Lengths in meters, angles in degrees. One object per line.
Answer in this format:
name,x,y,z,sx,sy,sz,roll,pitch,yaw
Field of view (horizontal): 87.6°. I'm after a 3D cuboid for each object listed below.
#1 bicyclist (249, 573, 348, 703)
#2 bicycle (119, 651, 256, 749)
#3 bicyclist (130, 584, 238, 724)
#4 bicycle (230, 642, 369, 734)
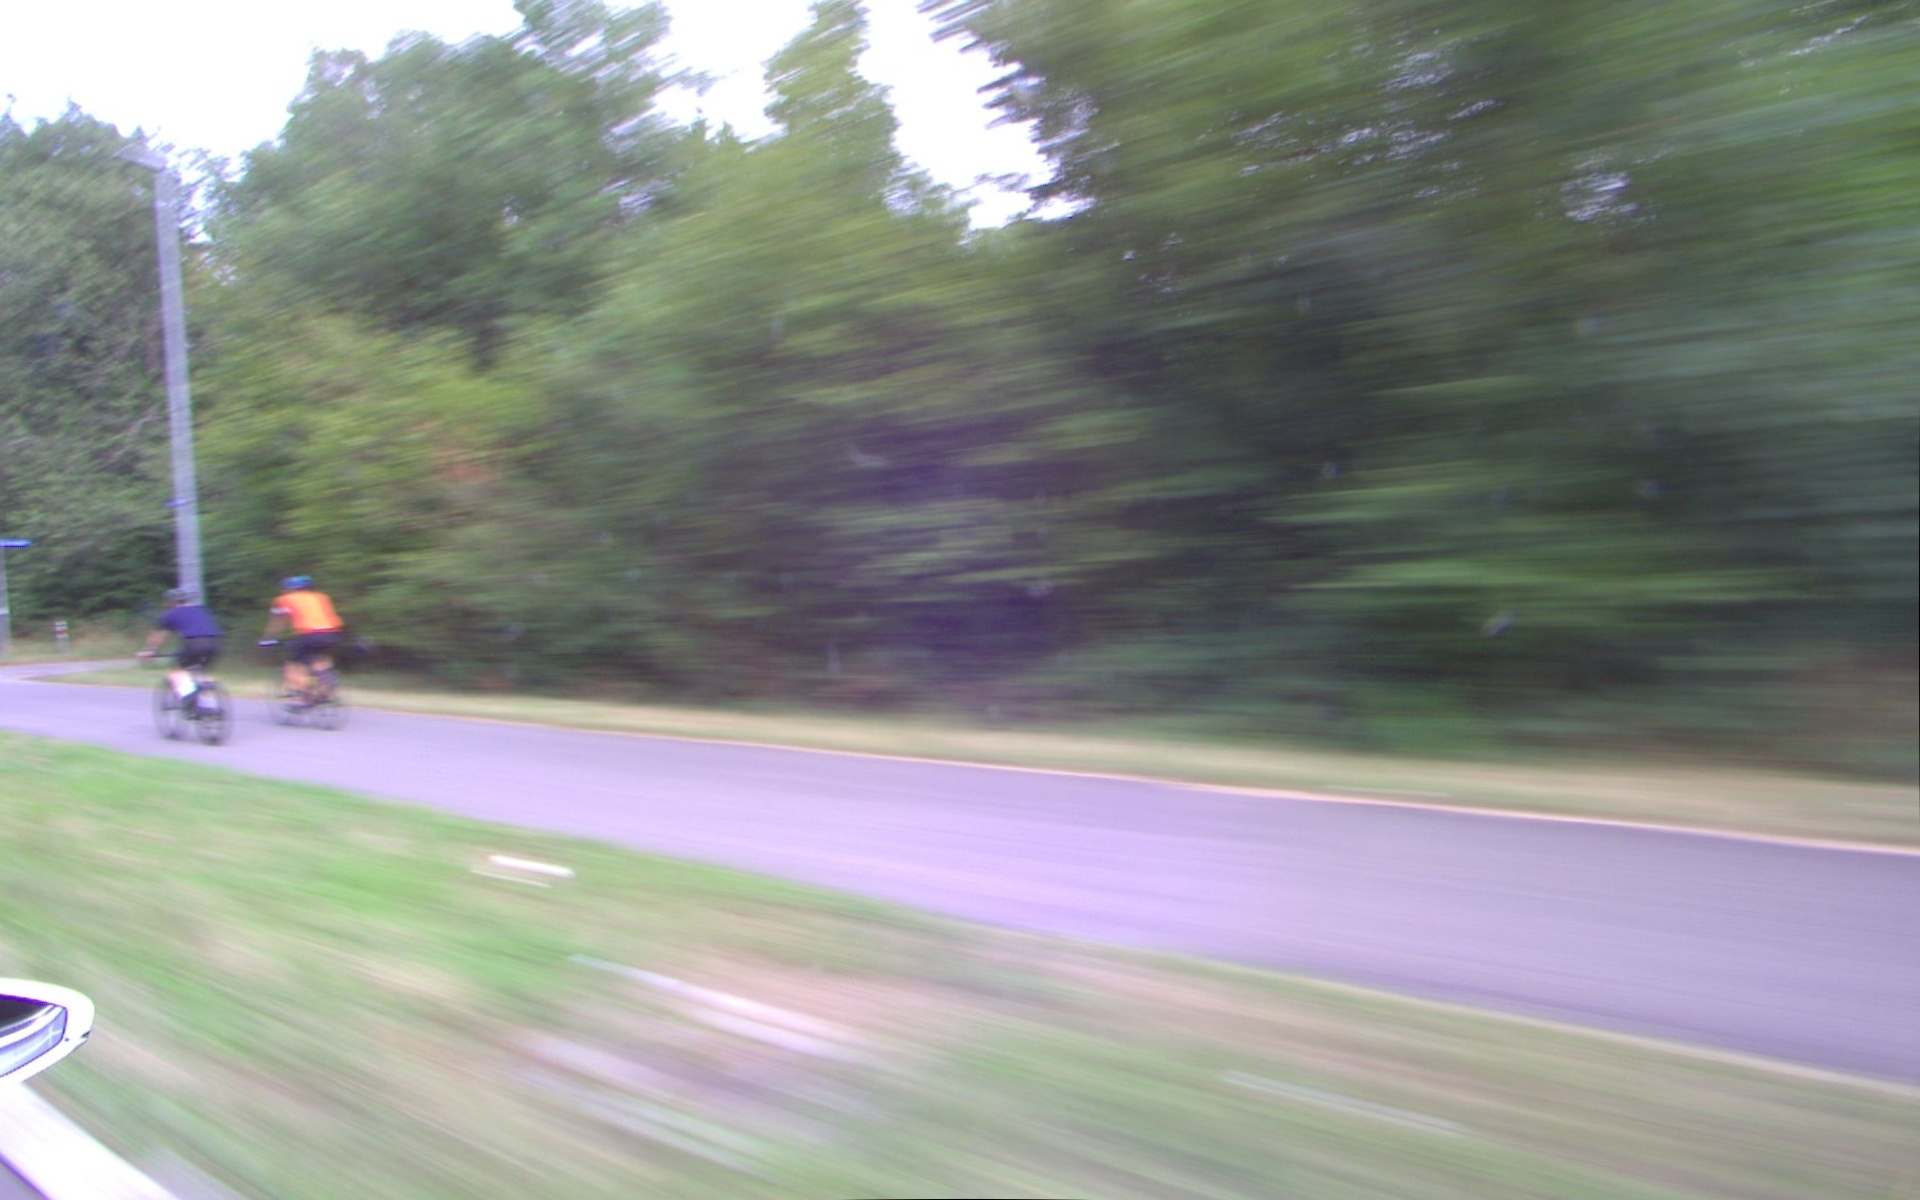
bicyclist,-7.616,0.433,11.522,1.169,1.433,0.519,-1,-1,32
bicycle,-8.307,1.041,10.752,1.729,0.924,0.564,-1,3,32
bicyclist,-8.332,0.558,10.746,1.169,1.434,0.518,-1,1,32
bicycle,-7.606,0.979,11.501,1.860,0.924,0.564,0,4,32
